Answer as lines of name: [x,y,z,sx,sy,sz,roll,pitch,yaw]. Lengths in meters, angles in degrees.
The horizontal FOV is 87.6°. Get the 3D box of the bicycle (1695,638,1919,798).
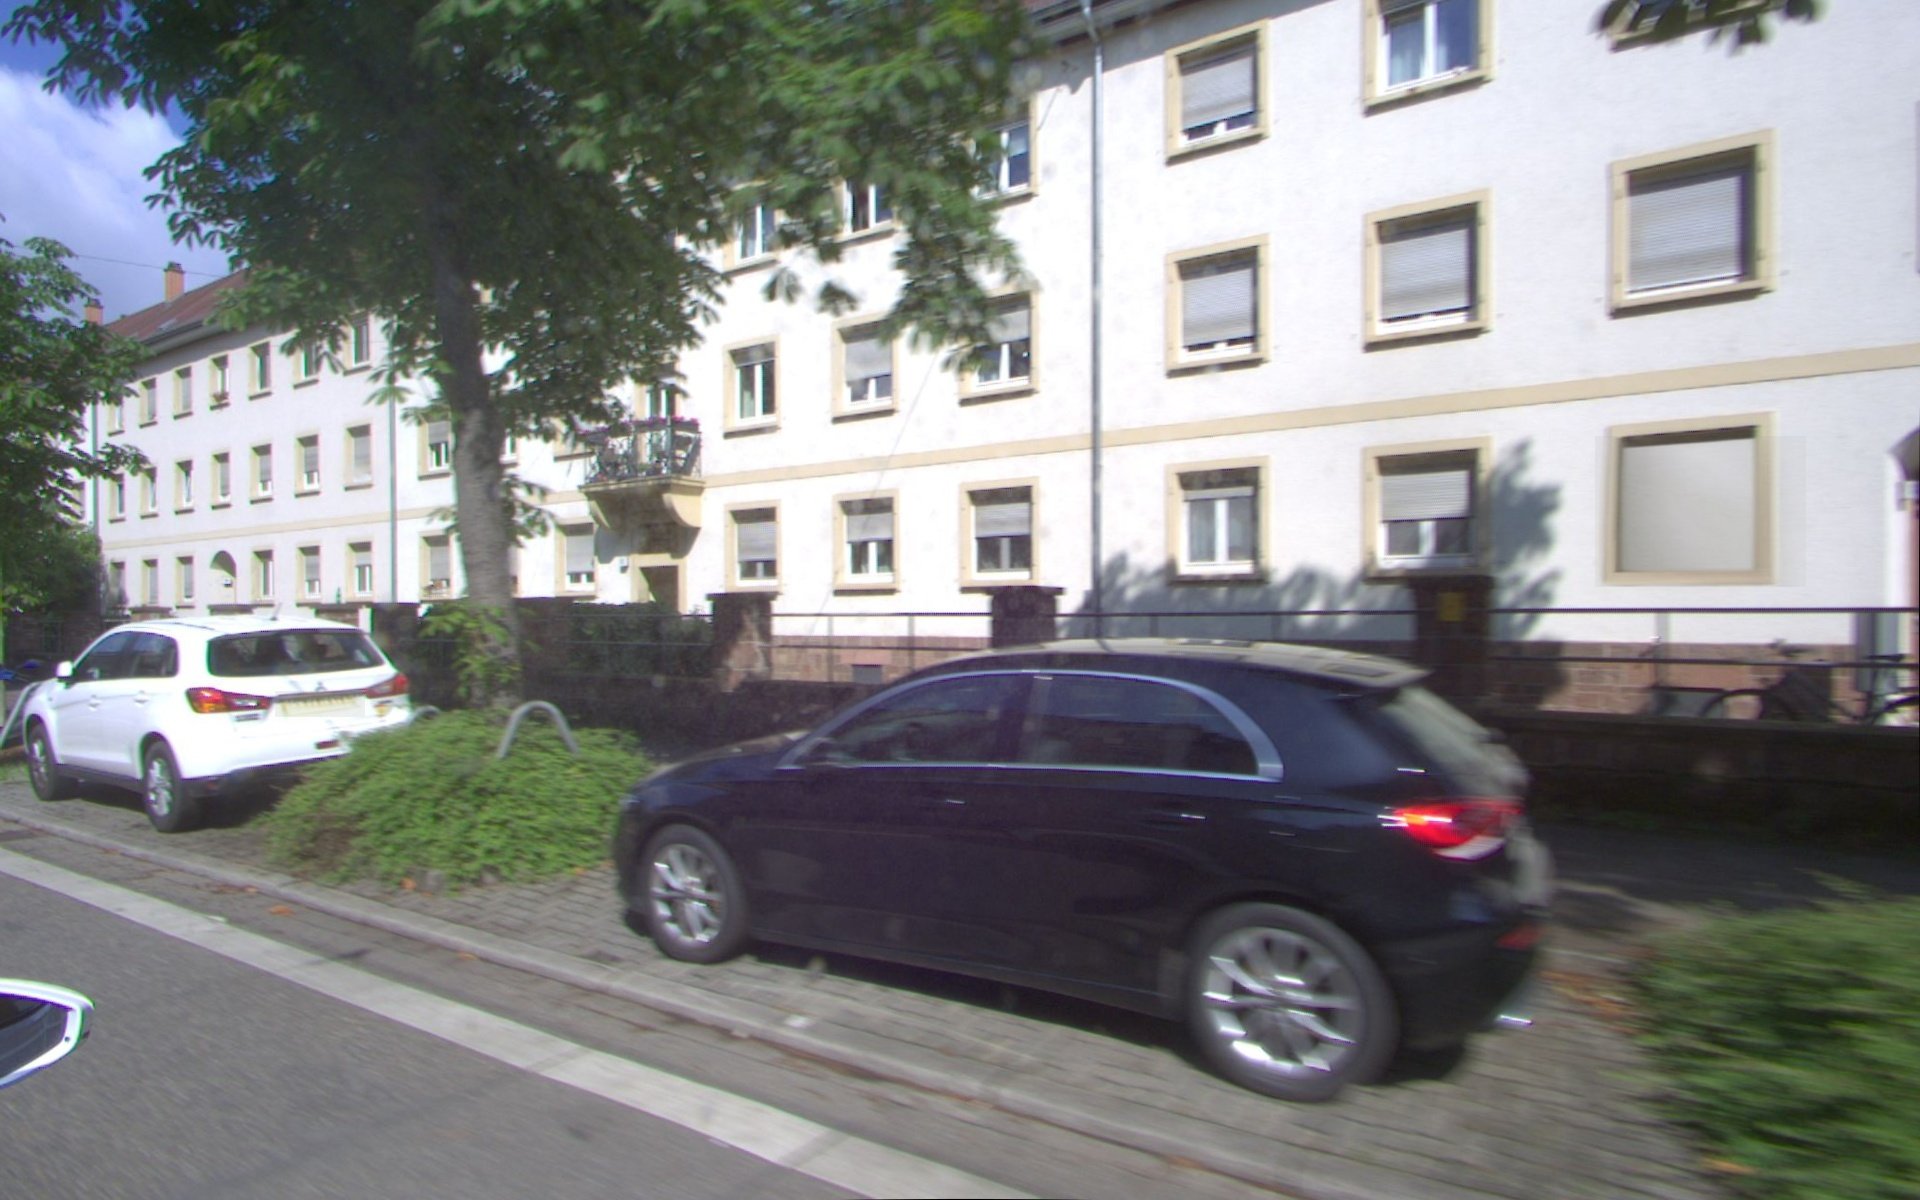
bicycle: [6.885,0.890,7.837,1.775,1.150,0.623,0,0,32]

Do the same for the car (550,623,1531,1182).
car: [0.178,0.881,4.604,4.225,1.541,1.658,-1,-1,32]

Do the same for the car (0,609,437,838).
car: [-6.790,0.915,9.047,4.187,1.602,1.738,-1,1,32]

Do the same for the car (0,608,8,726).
car: [-16.009,0.966,14.711,4.570,1.674,1.859,-1,-1,32]

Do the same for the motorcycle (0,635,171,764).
motorcycle: [-10.332,1.094,11.399,0.736,1.354,2.005,0,-1,28]
